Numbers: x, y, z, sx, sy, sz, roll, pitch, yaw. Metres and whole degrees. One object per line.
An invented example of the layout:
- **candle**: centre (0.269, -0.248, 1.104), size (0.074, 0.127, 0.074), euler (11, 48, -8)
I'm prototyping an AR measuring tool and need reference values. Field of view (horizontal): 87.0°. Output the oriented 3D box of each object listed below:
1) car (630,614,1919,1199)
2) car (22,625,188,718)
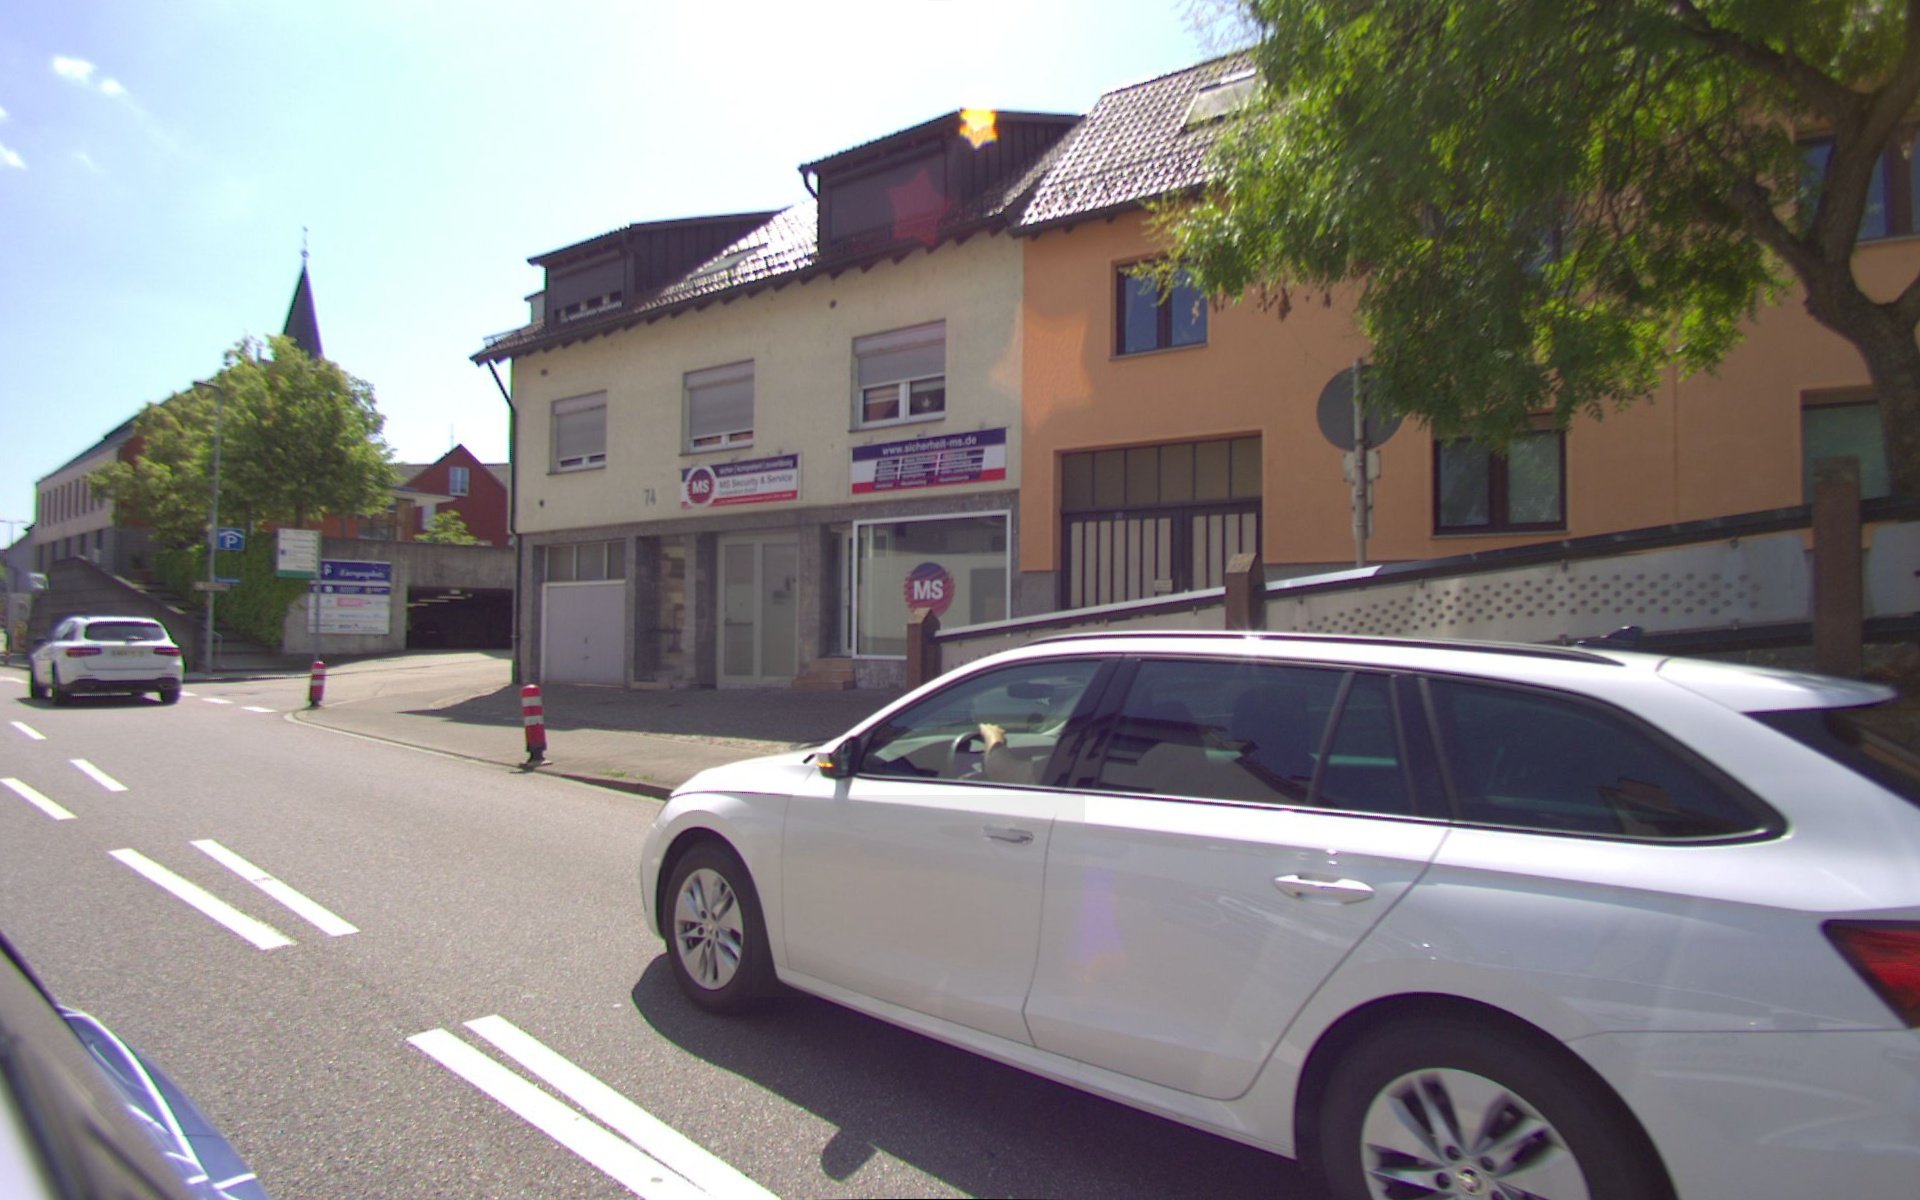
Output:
- **car**: centre (0.955, 0.821, 3.252), size (4.428, 1.458, 1.794), euler (-2, -4, 41)
- **car**: centre (-16.694, 1.317, 19.691), size (4.444, 1.592, 1.823), euler (-2, -3, 42)
